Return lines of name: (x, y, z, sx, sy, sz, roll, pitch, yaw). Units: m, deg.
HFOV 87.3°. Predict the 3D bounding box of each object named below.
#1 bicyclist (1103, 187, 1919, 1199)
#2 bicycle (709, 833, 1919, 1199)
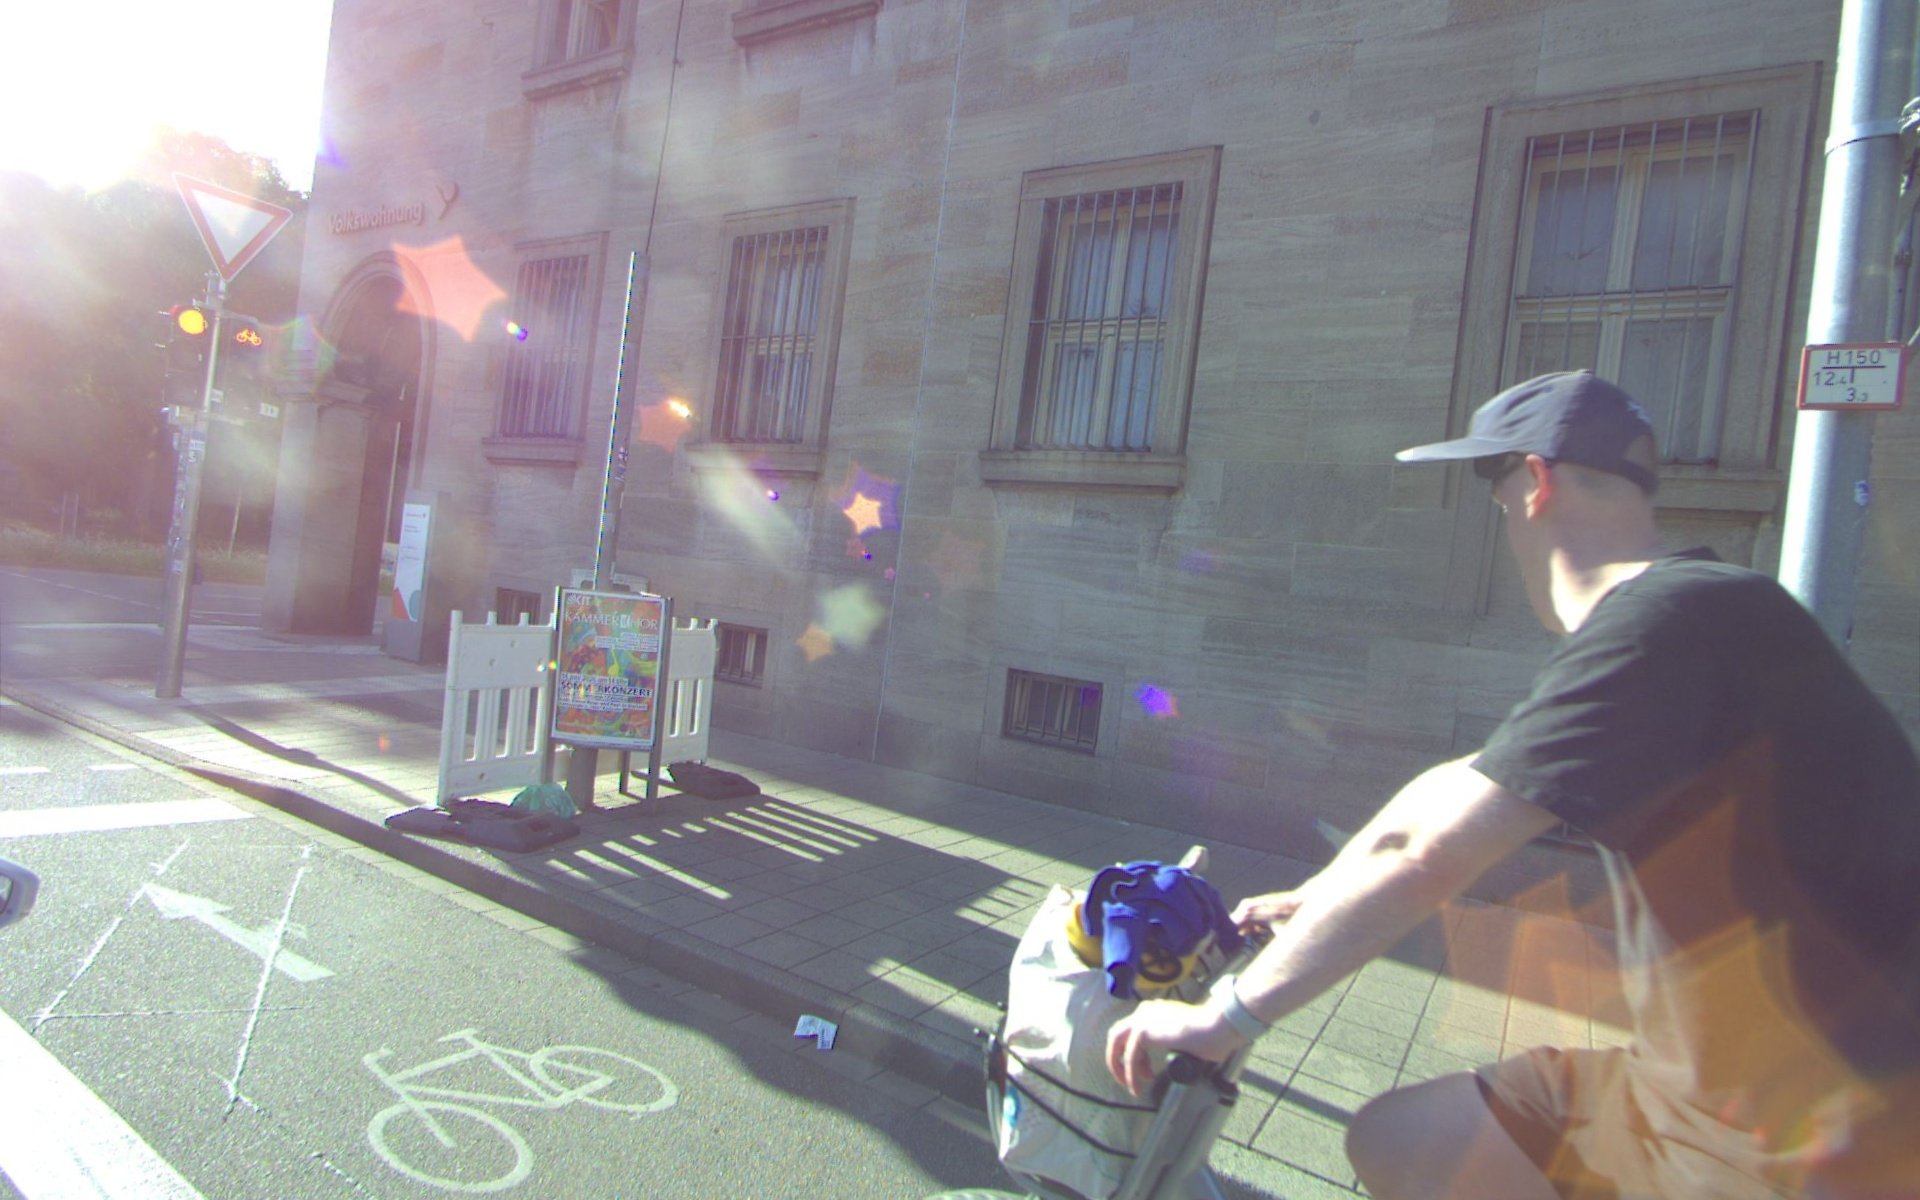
bicyclist: (0.611, 0.541, 1.159, 0.646, 1.698, 0.670, 7, 0, 32)
bicycle: (0.426, 0.996, 1.282, 1.923, 0.916, 0.388, 7, 0, 41)
